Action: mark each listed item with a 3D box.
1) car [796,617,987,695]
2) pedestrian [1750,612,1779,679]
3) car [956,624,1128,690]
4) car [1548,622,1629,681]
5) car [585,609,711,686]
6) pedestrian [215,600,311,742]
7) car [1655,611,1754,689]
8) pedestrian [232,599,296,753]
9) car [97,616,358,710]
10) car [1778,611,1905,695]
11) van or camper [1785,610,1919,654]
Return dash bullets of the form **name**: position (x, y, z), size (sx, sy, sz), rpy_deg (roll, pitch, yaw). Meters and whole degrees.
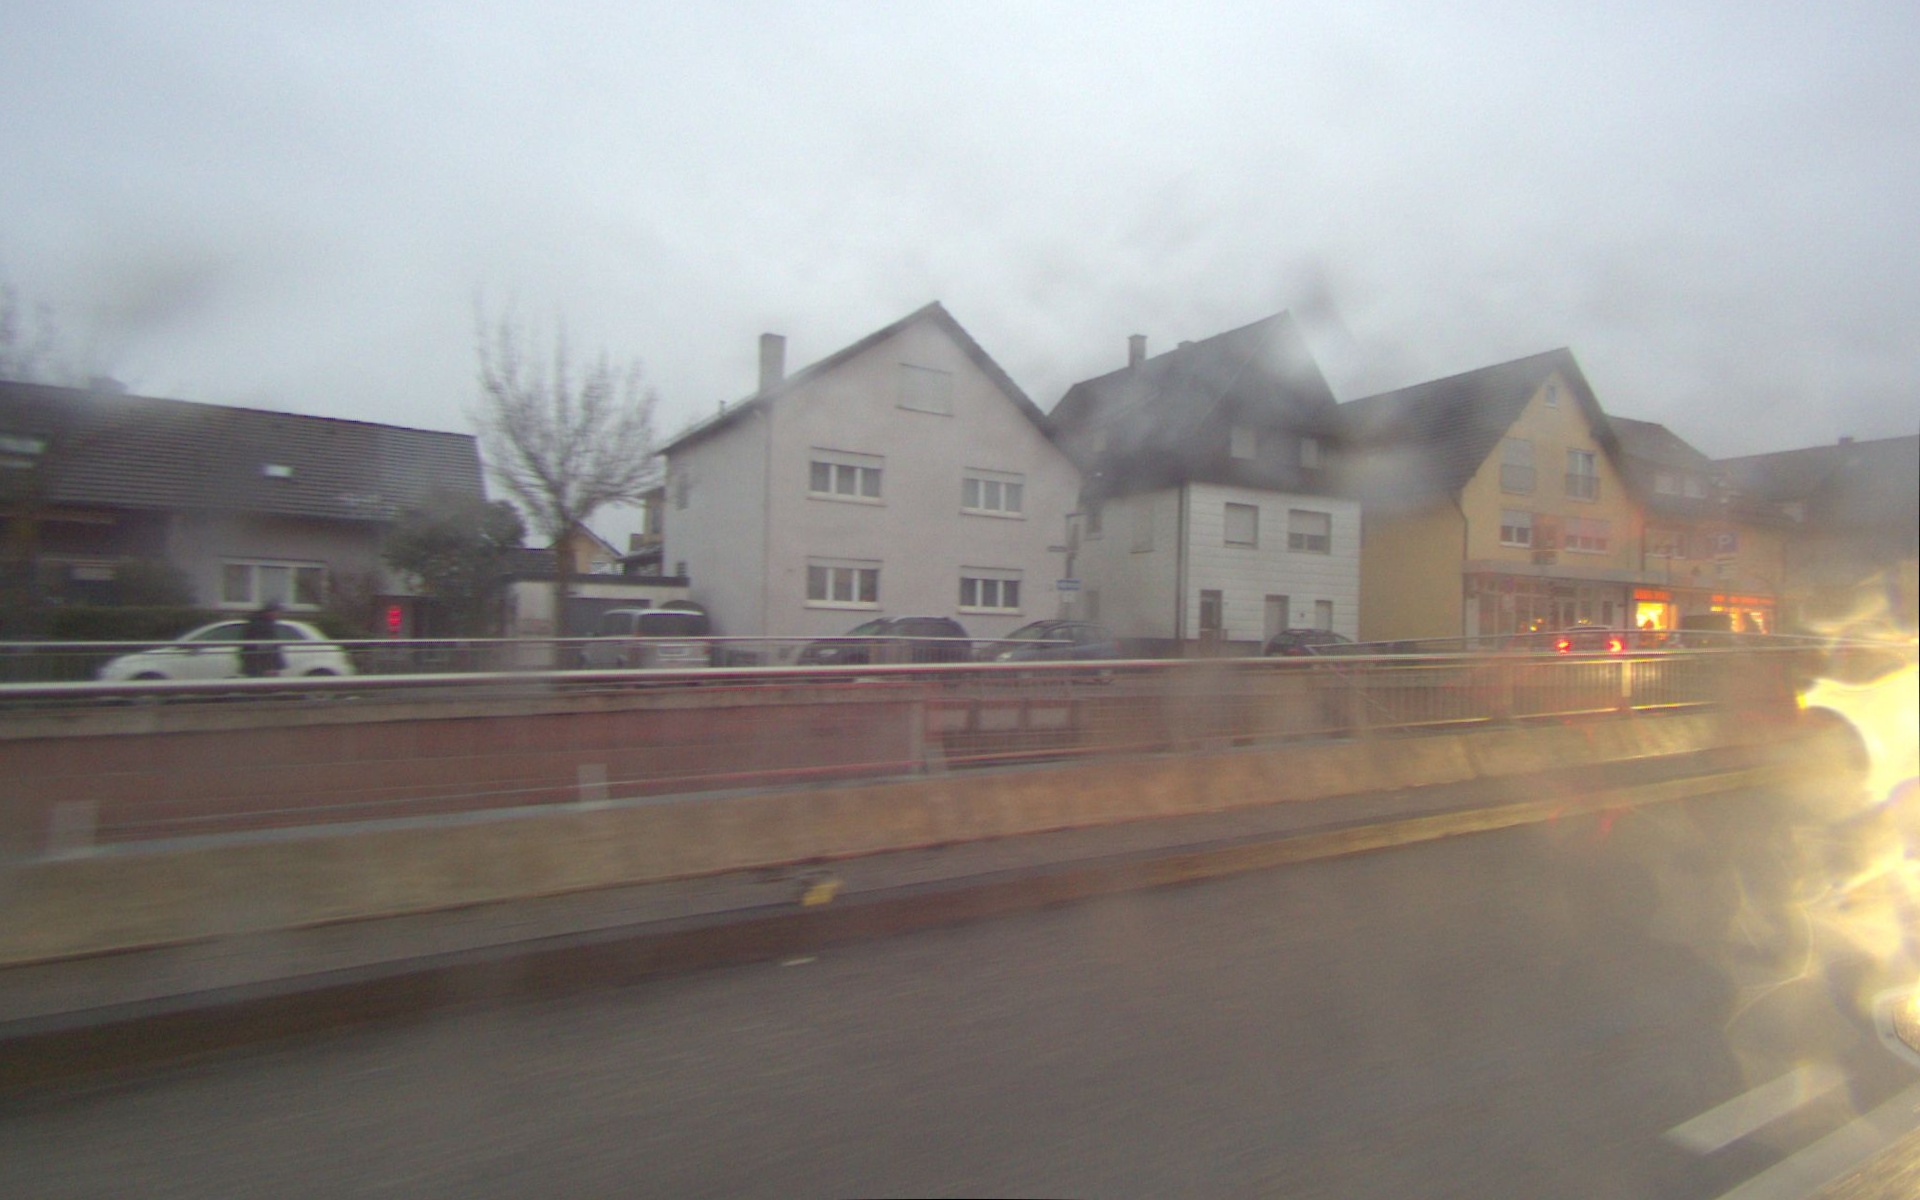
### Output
- **car**: position (-1.597, 1.276, 23.909), size (4.173, 1.705, 1.899), rpy_deg (1, -1, -34)
- **pedestrian**: position (20.956, 1.178, 26.166), size (0.489, 1.724, 0.710), rpy_deg (-2, -2, 36)
- **car**: position (2.162, 1.429, 26.271), size (4.168, 1.583, 1.901), rpy_deg (1, -1, -31)
- **car**: position (18.698, 1.470, 29.816), size (1.798, 1.634, 4.043), rpy_deg (-1, -1, 36)
- **car**: position (-7.697, 1.141, 24.594), size (1.846, 1.716, 3.961), rpy_deg (1, -2, -35)
- **pedestrian**: position (-9.357, 0.919, 13.526), size (0.962, 1.808, 0.923), rpy_deg (1, 0, -31)
- **car**: position (20.165, 1.293, 27.309), size (2.011, 1.951, 4.043), rpy_deg (-1, -1, 36)
- **pedestrian**: position (-8.085, 0.860, 11.691), size (0.535, 1.720, 0.660), rpy_deg (1, 0, -31)
- **car**: position (-12.272, 1.042, 17.078), size (3.423, 1.446, 1.473), rpy_deg (2, -2, -34)
- **car**: position (22.223, 1.277, 25.491), size (2.011, 1.951, 4.043), rpy_deg (-1, -1, 36)
- **van or camper**: position (43.257, 1.504, 48.283), size (1.966, 1.980, 5.535), rpy_deg (0, -1, -13)
